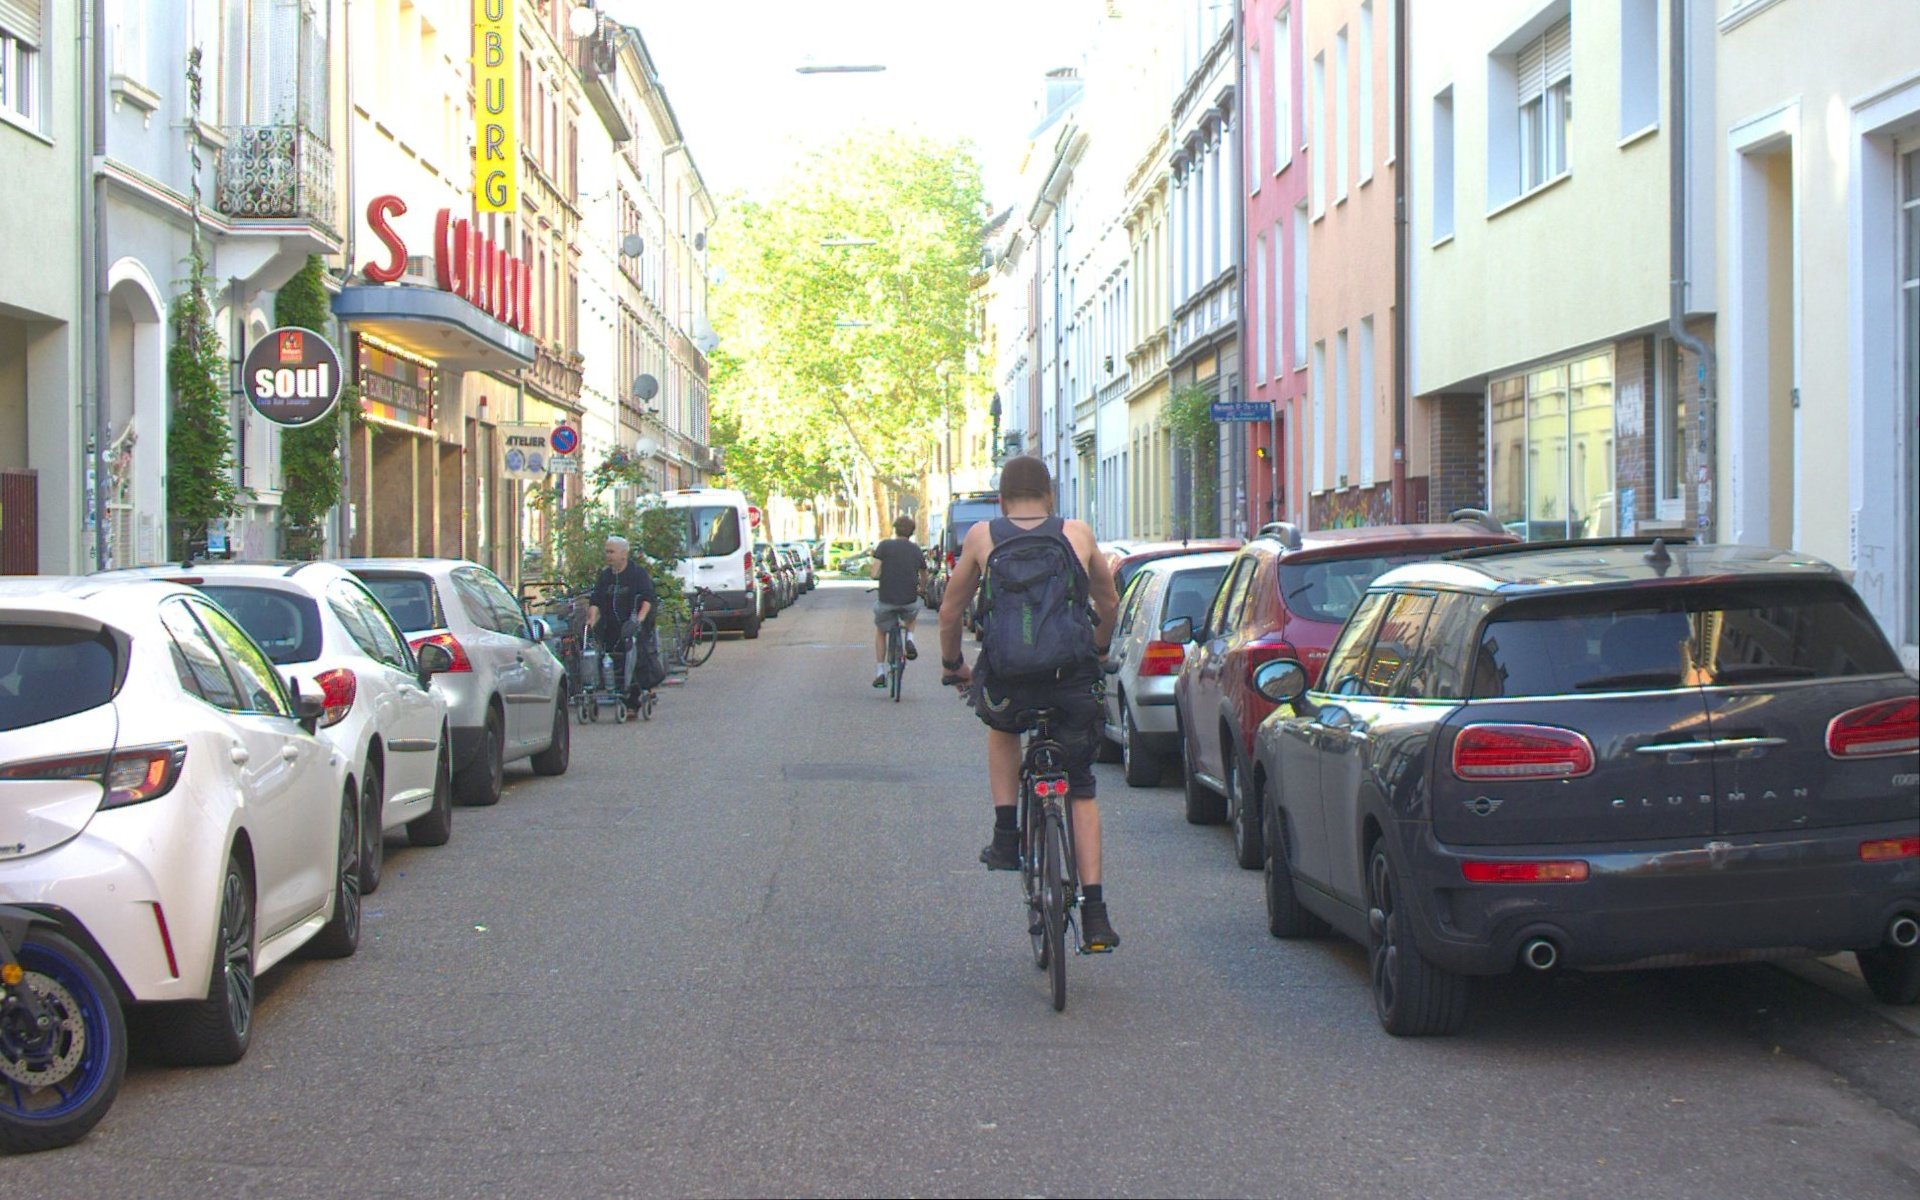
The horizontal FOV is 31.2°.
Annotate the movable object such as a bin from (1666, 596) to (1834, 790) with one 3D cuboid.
[{"bbox_3d":[4.629,0.538,20.175,0.807,1.071,0.677,-3,1,3],"label":"movable object such as a bin"}]

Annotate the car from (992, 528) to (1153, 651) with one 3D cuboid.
[{"bbox_3d":[1.354,-0.145,42.921,1.710,1.389,4.000,-2,1,-2],"label":"car"}]

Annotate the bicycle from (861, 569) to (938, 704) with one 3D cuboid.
[{"bbox_3d":[-0.607,0.338,33.570,0.702,1.203,2.342,1,2,-2],"label":"bicycle"}]

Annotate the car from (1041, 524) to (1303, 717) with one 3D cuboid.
[{"bbox_3d":[1.645,0.137,27.857,1.710,1.378,4.000,-2,1,-2],"label":"car"}]

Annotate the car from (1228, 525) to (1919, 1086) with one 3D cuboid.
[{"bbox_3d":[2.060,0.555,11.709,1.816,1.516,4.000,-2,1,-2],"label":"car"}]

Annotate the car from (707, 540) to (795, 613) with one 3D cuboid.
[{"bbox_3d":[-4.402,-0.504,72.890,1.672,1.437,4.166,-2,1,-2],"label":"car"}]

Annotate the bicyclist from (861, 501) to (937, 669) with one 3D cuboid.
[{"bbox_3d":[-0.597,-0.153,33.512,0.702,1.599,0.813,1,2,-2],"label":"bicyclist"}]

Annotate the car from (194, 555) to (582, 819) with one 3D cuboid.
[{"bbox_3d":[-3.471,0.475,21.488,1.672,1.437,3.754,-2,1,1],"label":"car"}]

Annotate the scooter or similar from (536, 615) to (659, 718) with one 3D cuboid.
[{"bbox_3d":[-3.176,0.576,30.114,0.768,0.870,0.773,1,1,-37],"label":"scooter or similar"}]

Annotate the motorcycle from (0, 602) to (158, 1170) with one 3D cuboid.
[{"bbox_3d":[-3.115,0.749,8.373,2.146,1.354,0.540,-4,2,-19],"label":"motorcycle"}]

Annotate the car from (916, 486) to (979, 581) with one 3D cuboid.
[{"bbox_3d":[-0.538,-2.741,142.748,2.307,3.755,6.770,-2,1,-2],"label":"car"}]

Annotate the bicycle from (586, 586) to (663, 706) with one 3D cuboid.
[{"bbox_3d":[-3.236,0.424,33.231,0.699,1.102,2.275,1,1,-5],"label":"bicycle"}]

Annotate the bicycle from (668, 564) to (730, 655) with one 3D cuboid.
[{"bbox_3d":[-3.455,0.109,45.407,0.758,1.159,2.275,1,1,-5],"label":"bicycle"}]

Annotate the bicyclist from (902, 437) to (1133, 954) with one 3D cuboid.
[{"bbox_3d":[0.174,0.299,11.436,0.702,1.627,1.090,1,0,-1],"label":"bicyclist"}]

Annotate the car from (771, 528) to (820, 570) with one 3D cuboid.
[{"bbox_3d":[-6.052,-1.878,126.760,1.672,1.437,4.166,-2,1,-2],"label":"car"}]

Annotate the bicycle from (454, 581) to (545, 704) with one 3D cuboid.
[{"bbox_3d":[-4.450,0.392,33.318,0.758,1.130,2.275,1,1,-5],"label":"bicycle"}]

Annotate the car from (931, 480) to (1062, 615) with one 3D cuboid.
[{"bbox_3d":[0.681,-1.053,69.934,2.307,2.529,6.770,-2,1,-2],"label":"car"}]

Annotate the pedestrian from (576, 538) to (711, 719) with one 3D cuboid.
[{"bbox_3d":[-2.800,0.244,30.405,0.897,1.573,0.773,1,0,-37],"label":"pedestrian"}]

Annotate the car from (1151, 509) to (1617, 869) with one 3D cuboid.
[{"bbox_3d":[2.024,0.379,17.496,1.710,1.551,4.000,-2,1,-2],"label":"car"}]

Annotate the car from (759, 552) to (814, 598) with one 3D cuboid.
[{"bbox_3d":[-5.741,-0.837,114.195,1.672,1.437,4.166,-2,1,-2],"label":"car"}]

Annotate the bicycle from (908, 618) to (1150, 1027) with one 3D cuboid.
[{"bbox_3d":[0.194,0.685,11.657,0.702,1.204,2.342,1,1,-1],"label":"bicycle"}]

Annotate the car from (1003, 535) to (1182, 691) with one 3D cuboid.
[{"bbox_3d":[1.393,0.114,37.469,1.620,1.545,4.000,-2,1,-2],"label":"car"}]

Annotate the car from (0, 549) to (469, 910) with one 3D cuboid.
[{"bbox_3d":[-3.399,0.523,16.211,1.672,1.437,3.768,-2,1,-2],"label":"car"}]

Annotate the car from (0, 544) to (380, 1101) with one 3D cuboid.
[{"bbox_3d":[-2.958,0.589,11.056,1.672,1.437,4.166,-2,1,-4],"label":"car"}]

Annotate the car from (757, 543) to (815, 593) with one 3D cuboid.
[{"bbox_3d":[-5.398,-0.997,106.974,1.672,1.437,4.166,-2,1,-2],"label":"car"}]

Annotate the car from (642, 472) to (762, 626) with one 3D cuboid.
[{"bbox_3d":[-4.356,-0.876,58.388,1.909,2.488,4.166,-1,1,-3],"label":"car"}]

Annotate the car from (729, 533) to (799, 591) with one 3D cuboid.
[{"bbox_3d":[-5.187,-0.997,91.439,1.672,1.437,4.166,-2,1,-2],"label":"car"}]

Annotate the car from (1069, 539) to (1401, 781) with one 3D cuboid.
[{"bbox_3d":[1.720,0.341,22.677,1.710,1.378,4.000,-2,1,-2],"label":"car"}]

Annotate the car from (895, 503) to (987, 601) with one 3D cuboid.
[{"bbox_3d":[-0.579,-1.308,95.366,2.307,2.529,6.770,-2,1,-2],"label":"car"}]

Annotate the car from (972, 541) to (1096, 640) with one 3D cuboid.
[{"bbox_3d":[1.133,-0.162,54.315,1.710,1.442,4.000,-2,1,-2],"label":"car"}]

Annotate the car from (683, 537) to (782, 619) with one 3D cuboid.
[{"bbox_3d":[-4.299,-0.433,65.389,1.672,1.437,4.166,-2,1,-2],"label":"car"}]
